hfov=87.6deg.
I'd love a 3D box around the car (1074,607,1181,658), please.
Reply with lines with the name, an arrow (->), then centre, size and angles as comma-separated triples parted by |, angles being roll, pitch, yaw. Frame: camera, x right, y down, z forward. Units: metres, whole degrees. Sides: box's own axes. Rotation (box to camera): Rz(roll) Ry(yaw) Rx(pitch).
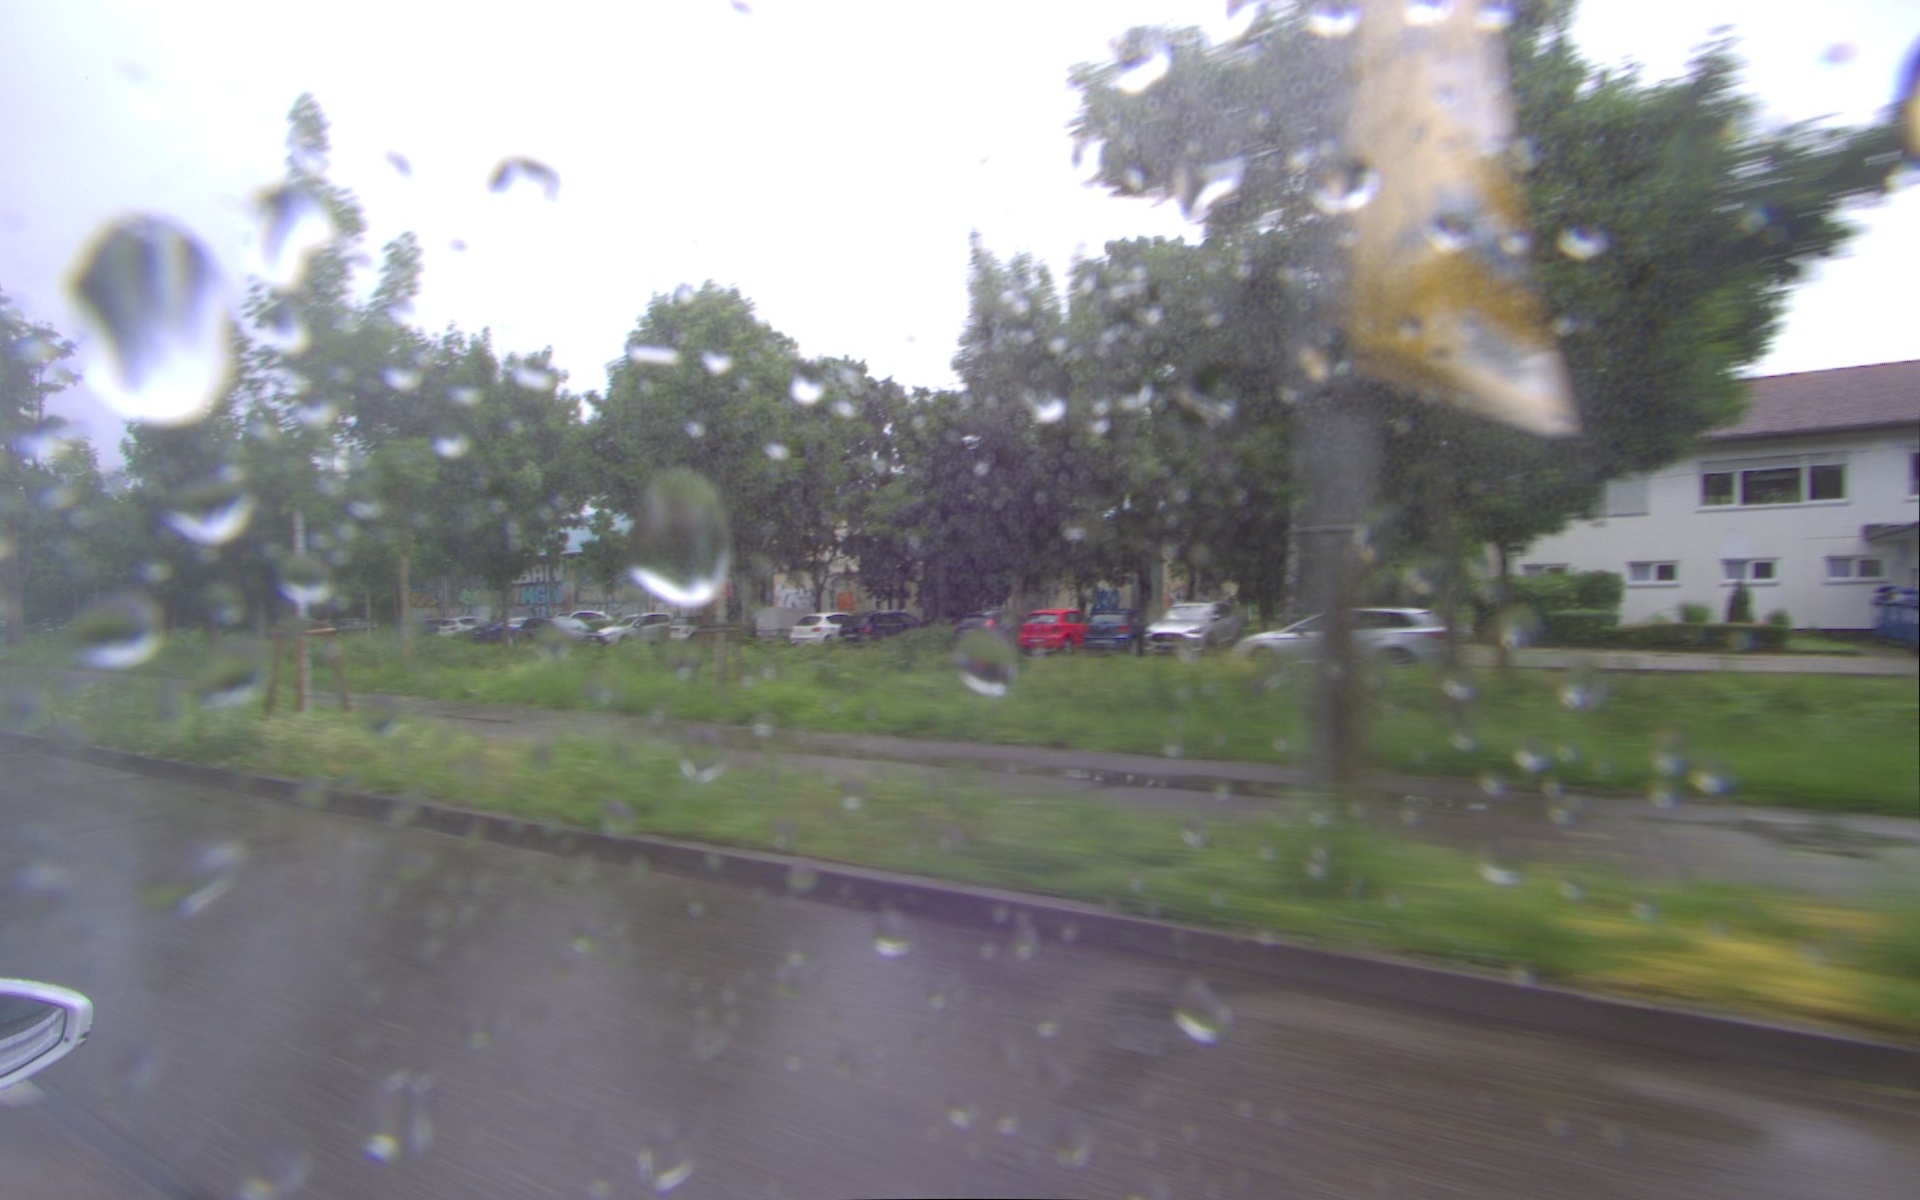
car -> 5.415, 1.050, 31.940 | 1.917, 1.502, 4.329 | -1, -2, 31

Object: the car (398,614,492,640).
car -> -28.668, 1.524, 55.906 | 1.810, 1.351, 4.395 | -1, -2, 29

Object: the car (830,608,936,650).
car -> -2.780, 1.098, 37.087 | 1.765, 1.478, 4.122 | -1, -3, 34

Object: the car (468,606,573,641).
car -> -22.050, 1.241, 50.387 | 1.970, 1.665, 4.567 | -1, -2, 29

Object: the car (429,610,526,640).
car -> -26.442, 1.408, 55.018 | 1.835, 1.566, 4.567 | -1, -2, 29

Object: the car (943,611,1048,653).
car -> 1.287, 1.120, 34.615 | 1.840, 1.357, 4.174 | -1, -3, 31

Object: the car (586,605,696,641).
car -> -14.548, 1.095, 45.917 | 1.921, 1.577, 4.554 | -1, -3, 38

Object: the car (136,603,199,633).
car -> -64.562, 1.474, 81.623 | 1.567, 2.353, 3.712 | -1, -2, 35

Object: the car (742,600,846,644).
car -> -6.836, 0.955, 41.559 | 1.917, 1.746, 4.329 | -1, -2, 31

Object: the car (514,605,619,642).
car -> -19.199, 1.201, 49.070 | 1.971, 1.727, 4.565 | -1, -2, 31

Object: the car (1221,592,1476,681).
car -> 7.955, 0.707, 20.679 | 4.579, 1.647, 1.987 | -1, 0, 35

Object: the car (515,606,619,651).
car -> -14.463, 0.991, 36.755 | 4.068, 1.465, 1.738 | 1, 1, 37

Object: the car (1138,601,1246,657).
car -> 6.962, 0.898, 29.779 | 1.896, 1.522, 4.329 | -1, -2, 31

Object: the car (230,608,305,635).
car -> -48.456, 1.545, 70.119 | 1.871, 1.843, 3.945 | -1, -2, 35

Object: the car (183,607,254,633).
car -> -56.295, 1.563, 76.046 | 1.871, 1.843, 3.945 | -1, -2, 35

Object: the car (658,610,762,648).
car -> -10.815, 1.291, 43.557 | 1.917, 1.577, 4.329 | -1, -2, 31

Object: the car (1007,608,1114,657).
car -> 3.431, 1.101, 33.440 | 1.917, 1.502, 4.329 | -1, -2, 31

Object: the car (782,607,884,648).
car -> -4.860, 1.098, 38.845 | 1.735, 1.502, 4.184 | -1, -2, 31
